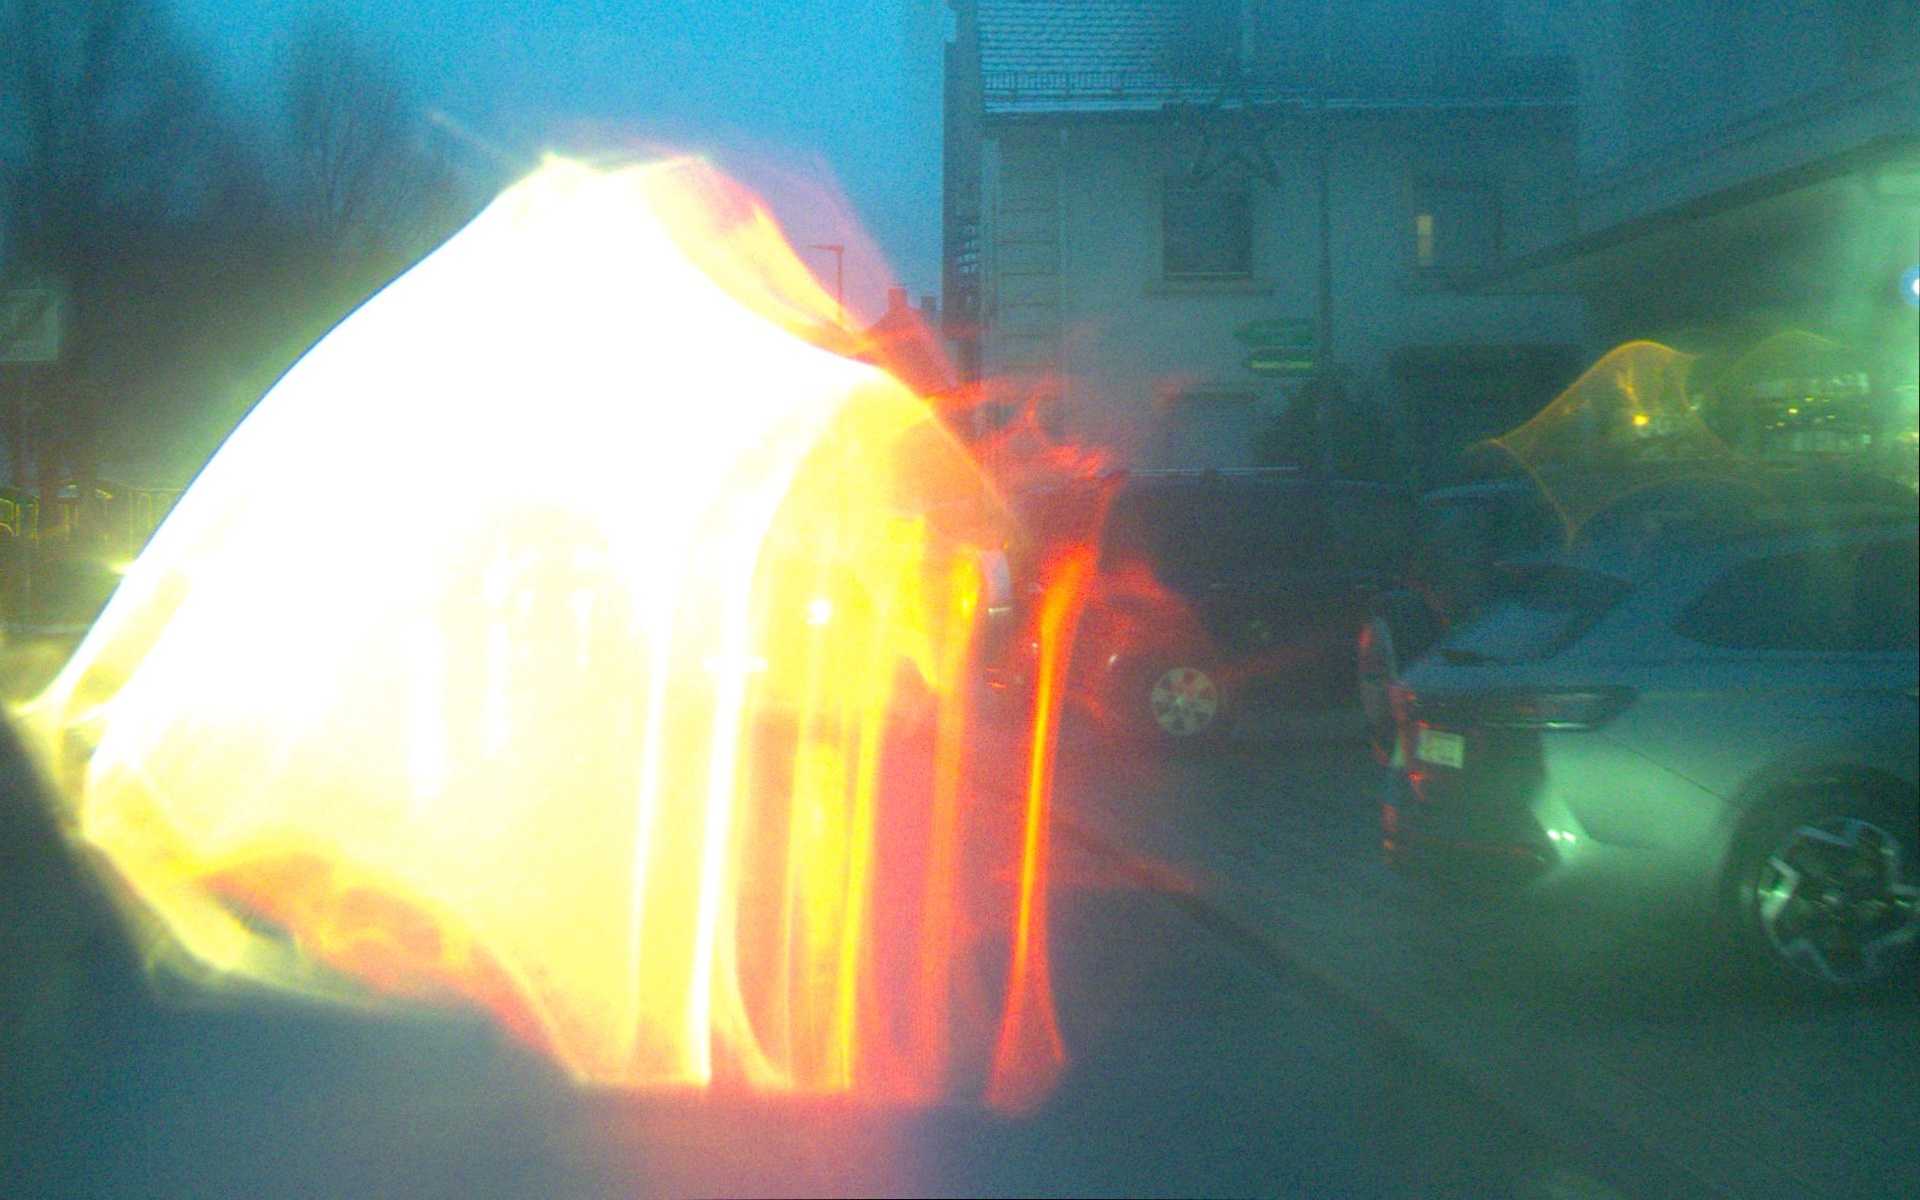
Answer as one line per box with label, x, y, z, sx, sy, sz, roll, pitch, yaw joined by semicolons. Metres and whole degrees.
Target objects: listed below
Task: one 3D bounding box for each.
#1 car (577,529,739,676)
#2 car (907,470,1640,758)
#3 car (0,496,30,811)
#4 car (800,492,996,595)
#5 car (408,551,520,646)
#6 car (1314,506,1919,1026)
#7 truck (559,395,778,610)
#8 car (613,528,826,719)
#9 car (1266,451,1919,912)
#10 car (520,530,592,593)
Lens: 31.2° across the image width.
car;-3.237;-0.009;36.818;1.637;1.476;3.272;0;1;-5
car;2.080;0.051;23.434;4.602;1.769;1.946;-1;2;-9
car;-5.768;0.296;16.685;1.794;1.637;3.813;1;1;-5
car;-1.290;-1.216;73.139;4.097;2.155;1.913;0;1;2
car;-8.344;-0.048;58.046;1.637;1.530;3.407;0;1;-4
car;3.585;0.420;11.330;4.466;1.468;1.898;-2;2;-6
truck;-4.704;-1.505;54.063;3.015;3.118;8.002;0;1;-8
car;-1.997;0.158;28.440;1.637;1.476;3.379;0;1;-4
car;3.223;0.255;14.250;3.503;1.675;1.716;-3;2;-10
car;-10.571;-1.033;90.236;1.810;1.590;4.400;0;1;-6
